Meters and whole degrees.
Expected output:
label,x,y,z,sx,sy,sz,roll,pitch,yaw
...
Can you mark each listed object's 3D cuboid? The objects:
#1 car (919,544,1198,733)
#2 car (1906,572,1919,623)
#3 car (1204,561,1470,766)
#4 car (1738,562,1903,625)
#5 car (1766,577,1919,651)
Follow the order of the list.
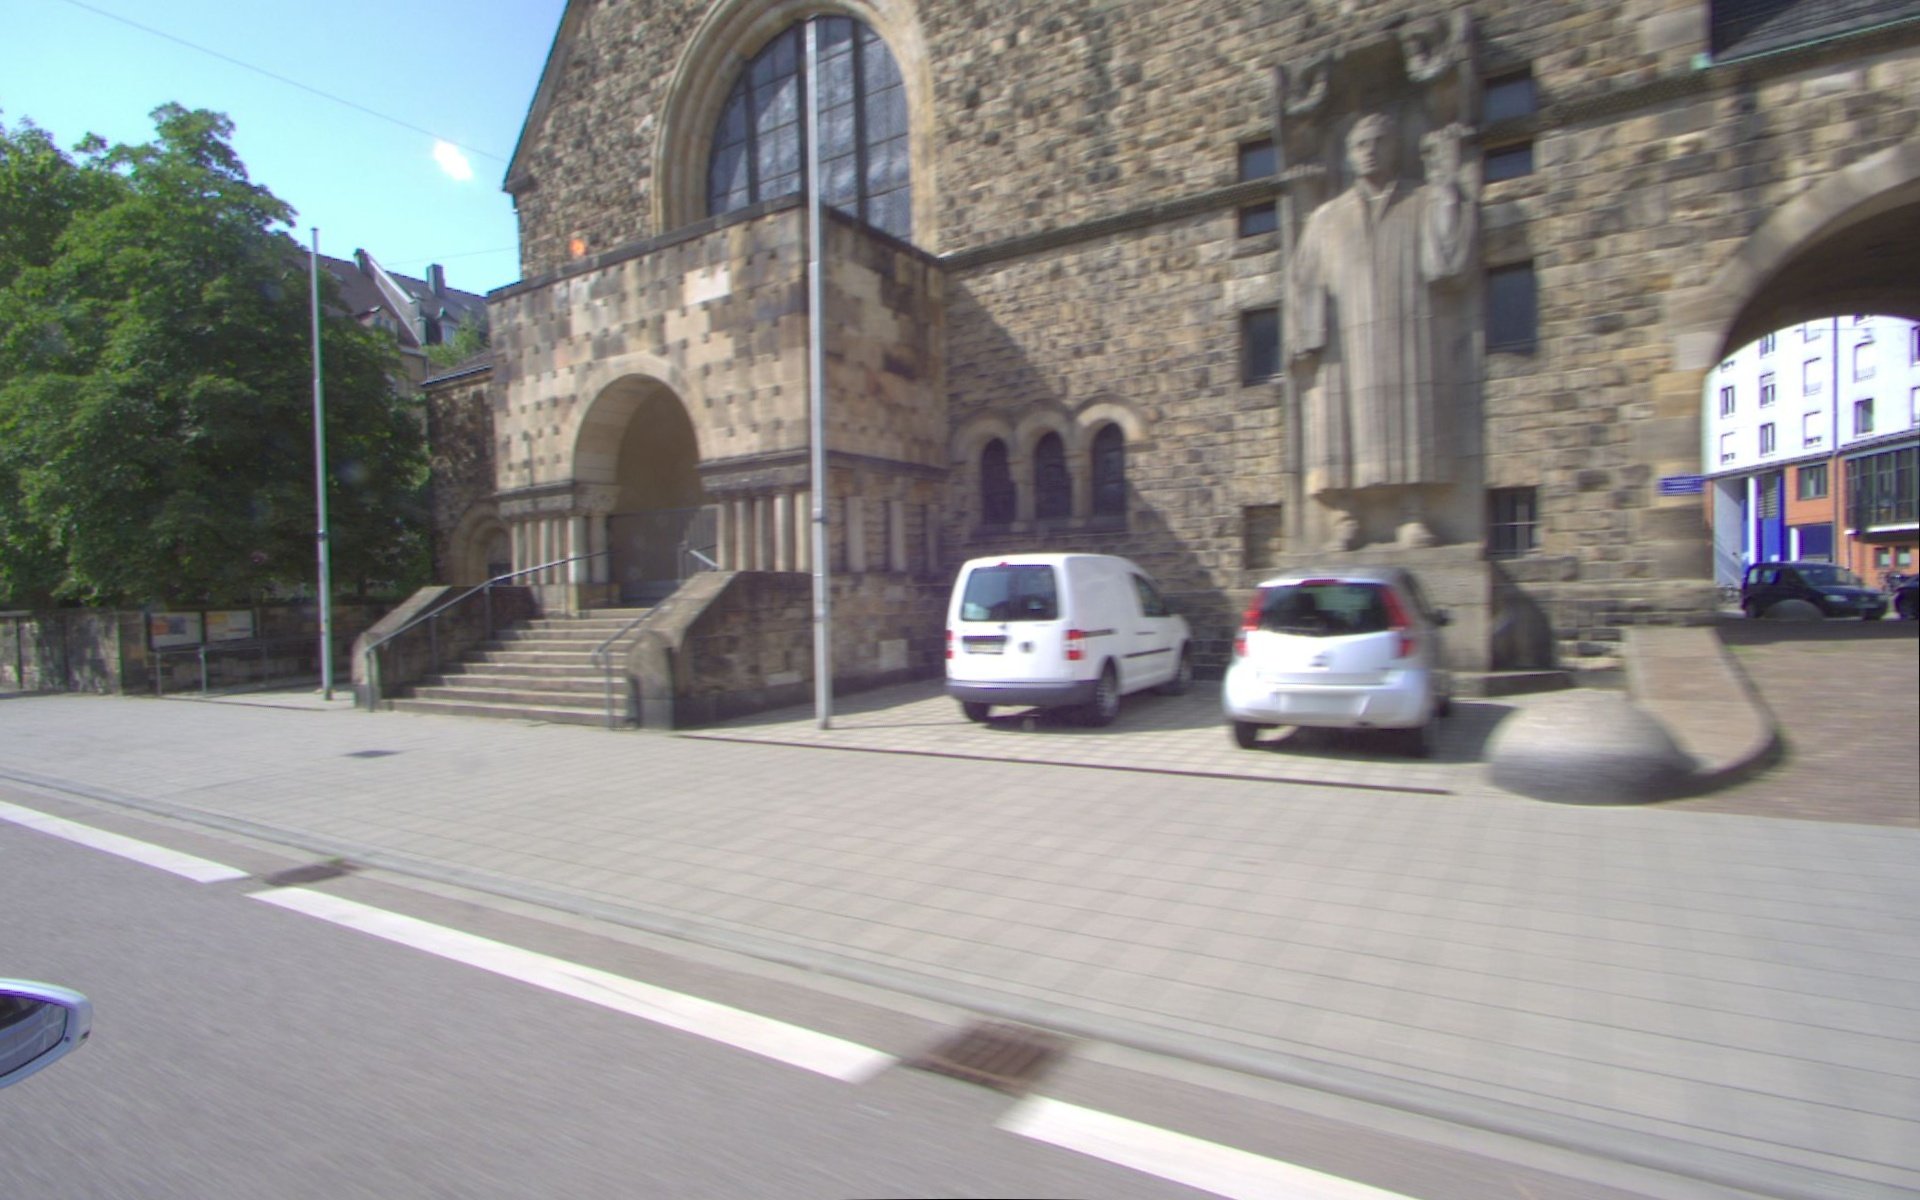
label,x,y,z,sx,sy,sz,roll,pitch,yaw
car,1.361,0.360,11.989,1.836,1.848,3.995,-1,1,30
car,27.291,-0.082,26.229,1.670,1.409,3.860,-1,0,7
car,3.813,0.472,9.717,1.771,1.567,3.759,-1,1,31
car,25.266,-0.233,29.599,1.780,1.687,4.069,-2,1,8
car,22.200,0.305,24.050,2.000,1.674,3.956,-2,0,-25
